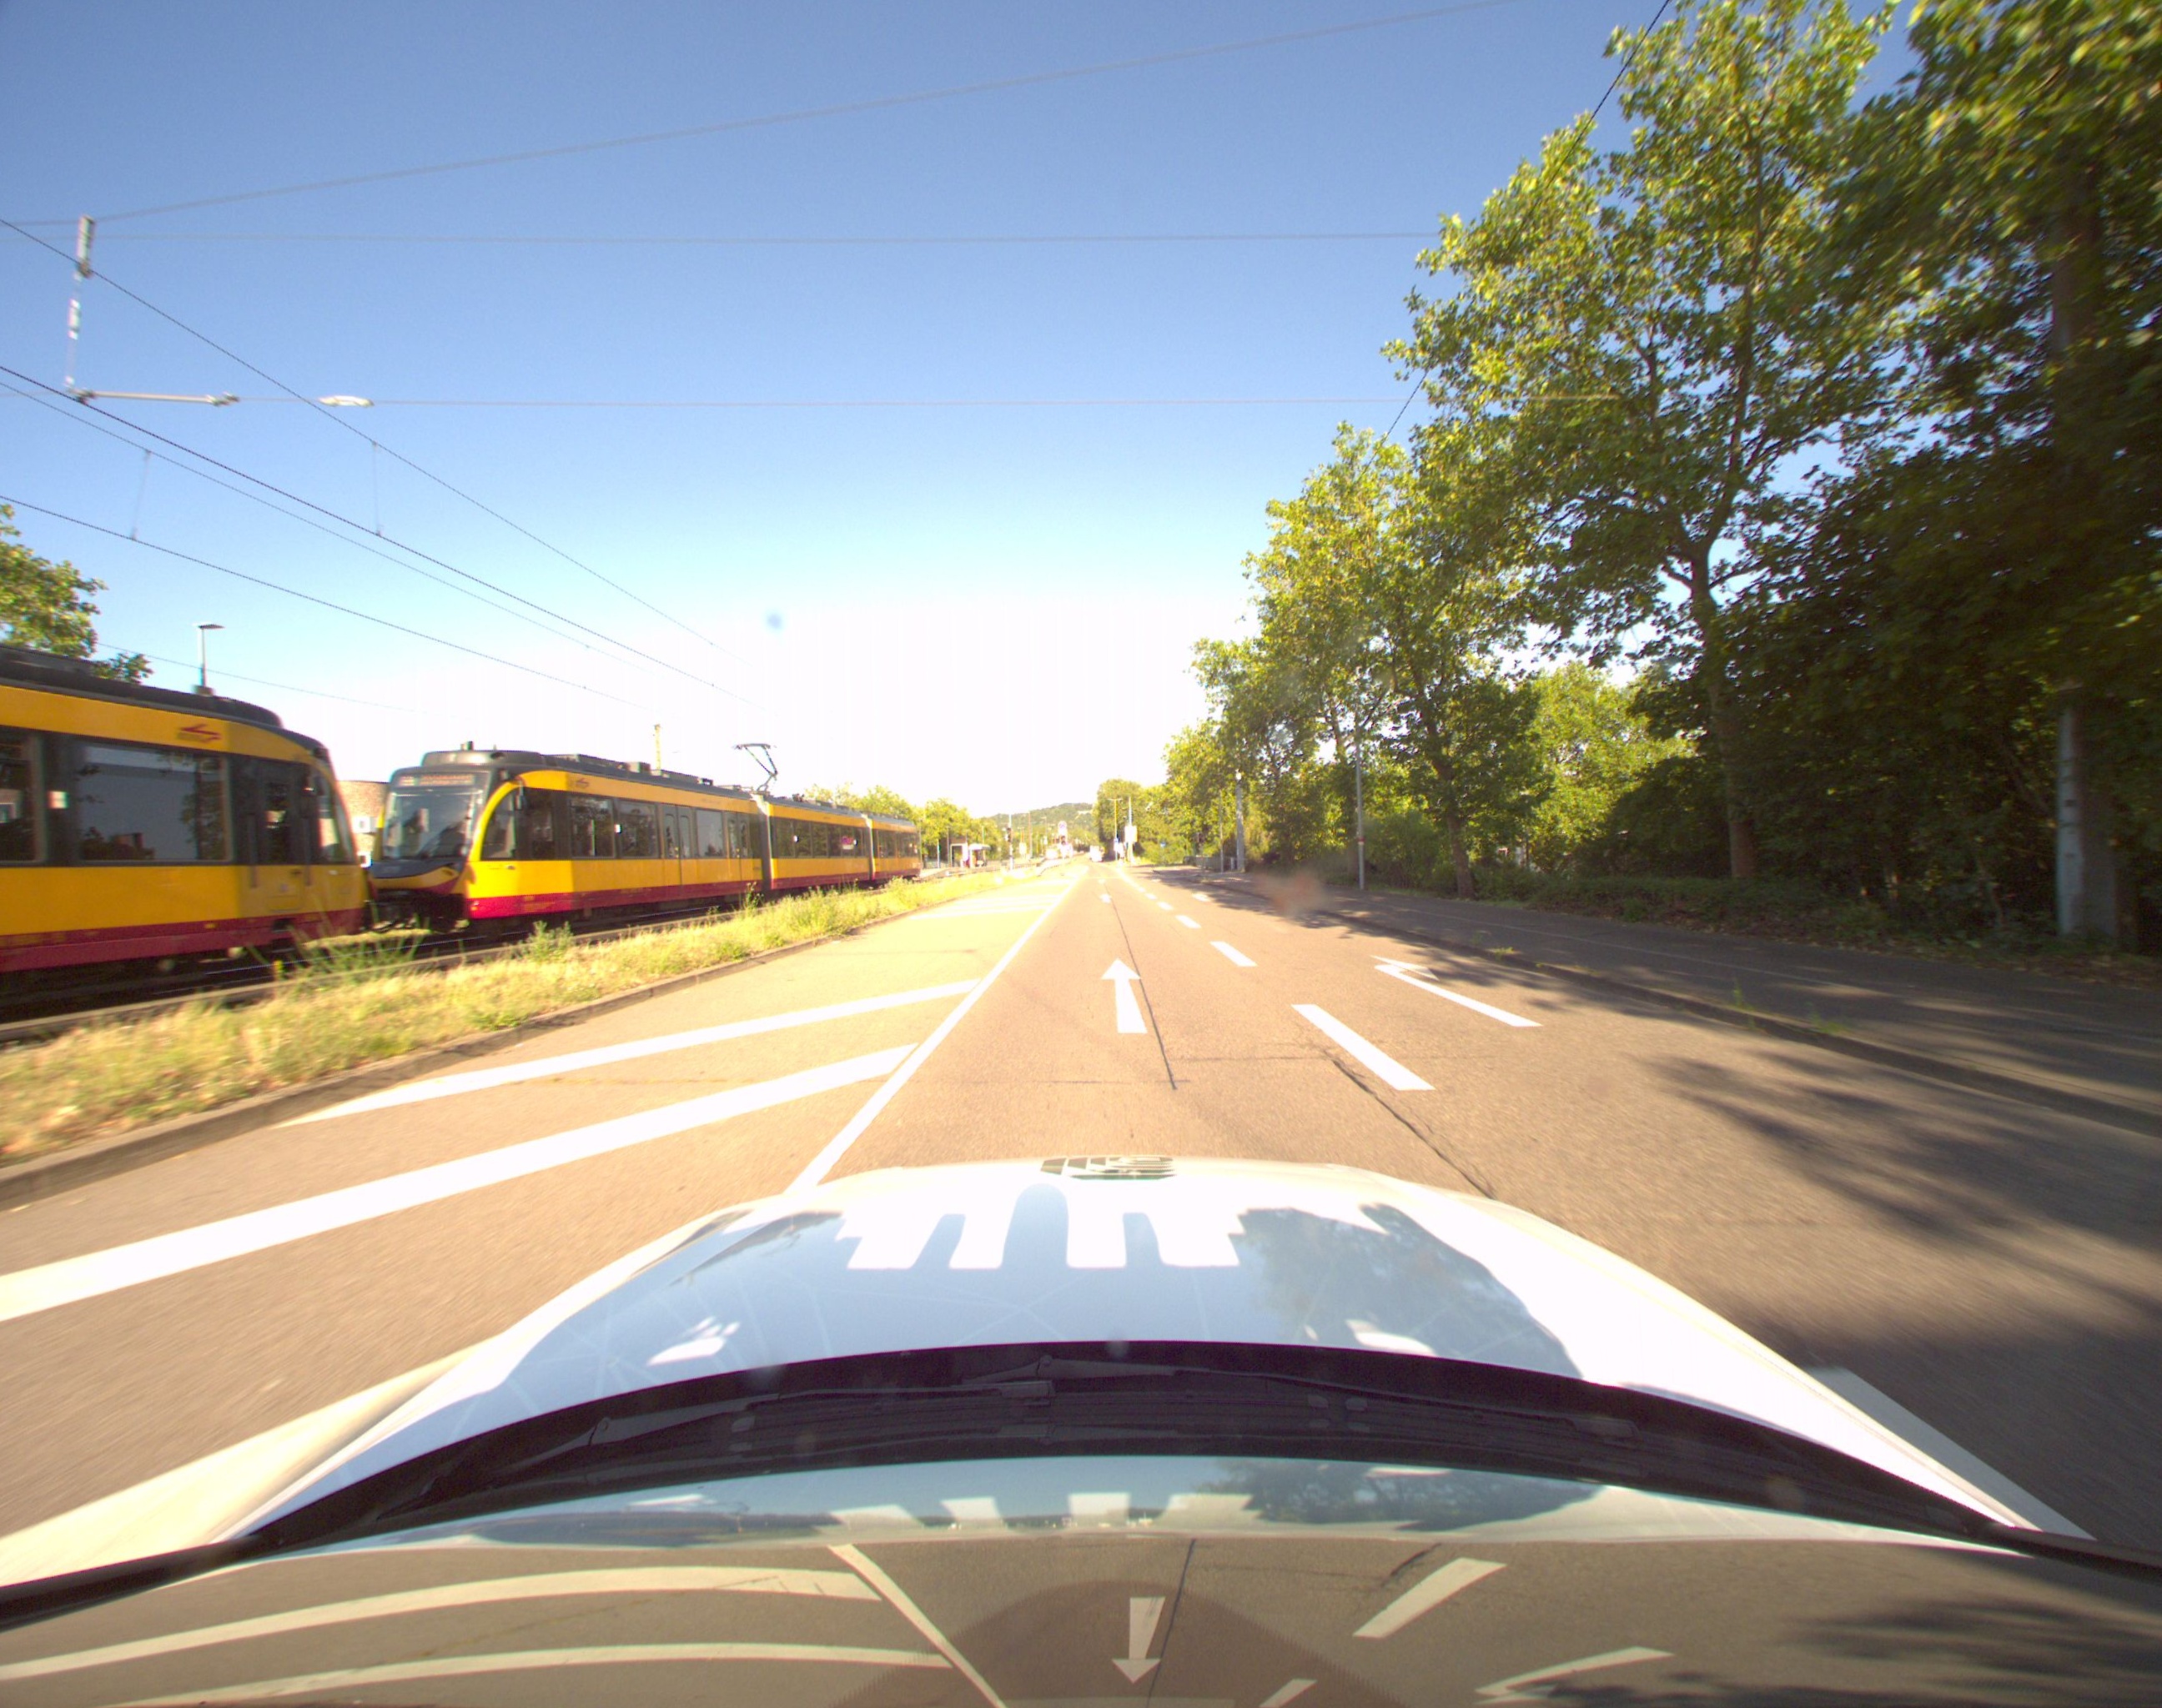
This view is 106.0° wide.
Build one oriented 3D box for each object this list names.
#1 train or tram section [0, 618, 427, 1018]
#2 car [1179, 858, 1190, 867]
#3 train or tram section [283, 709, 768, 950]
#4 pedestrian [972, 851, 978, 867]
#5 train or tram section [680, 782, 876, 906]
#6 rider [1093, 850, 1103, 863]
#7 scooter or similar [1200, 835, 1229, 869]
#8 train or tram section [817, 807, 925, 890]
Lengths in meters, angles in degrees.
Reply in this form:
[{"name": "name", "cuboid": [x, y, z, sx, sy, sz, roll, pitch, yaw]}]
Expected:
[{"name": "train or tram section", "cuboid": [-11.951, -0.347, 7.118, 2.794, 3.902, 11.814, -1, 0, 1]}, {"name": "car", "cuboid": [19.769, 1.608, 155.667, 2.075, 1.566, 3.963, -1, 0, 7]}, {"name": "train or tram section", "cuboid": [-11.605, -0.369, 19.780, 2.814, 3.950, 12.709, -1, 0, 1]}, {"name": "pedestrian", "cuboid": [-13.464, 0.636, 103.547, 0.741, 2.014, 0.608, -1, -1, 1]}, {"name": "train or tram section", "cuboid": [-11.331, -0.301, 32.480, 2.814, 3.950, 12.656, -1, 0, 1]}, {"name": "rider", "cuboid": [3.865, 0.535, 180.857, 2.098, 2.647, 0.738, -2, 0, 6]}, {"name": "scooter or similar", "cuboid": [11.021, -0.178, 67.406, 1.675, 2.716, 4.871, -1, 0, 2]}, {"name": "train or tram section", "cuboid": [-11.069, -0.237, 44.238, 2.814, 3.950, 10.836, -1, 0, 1]}]
